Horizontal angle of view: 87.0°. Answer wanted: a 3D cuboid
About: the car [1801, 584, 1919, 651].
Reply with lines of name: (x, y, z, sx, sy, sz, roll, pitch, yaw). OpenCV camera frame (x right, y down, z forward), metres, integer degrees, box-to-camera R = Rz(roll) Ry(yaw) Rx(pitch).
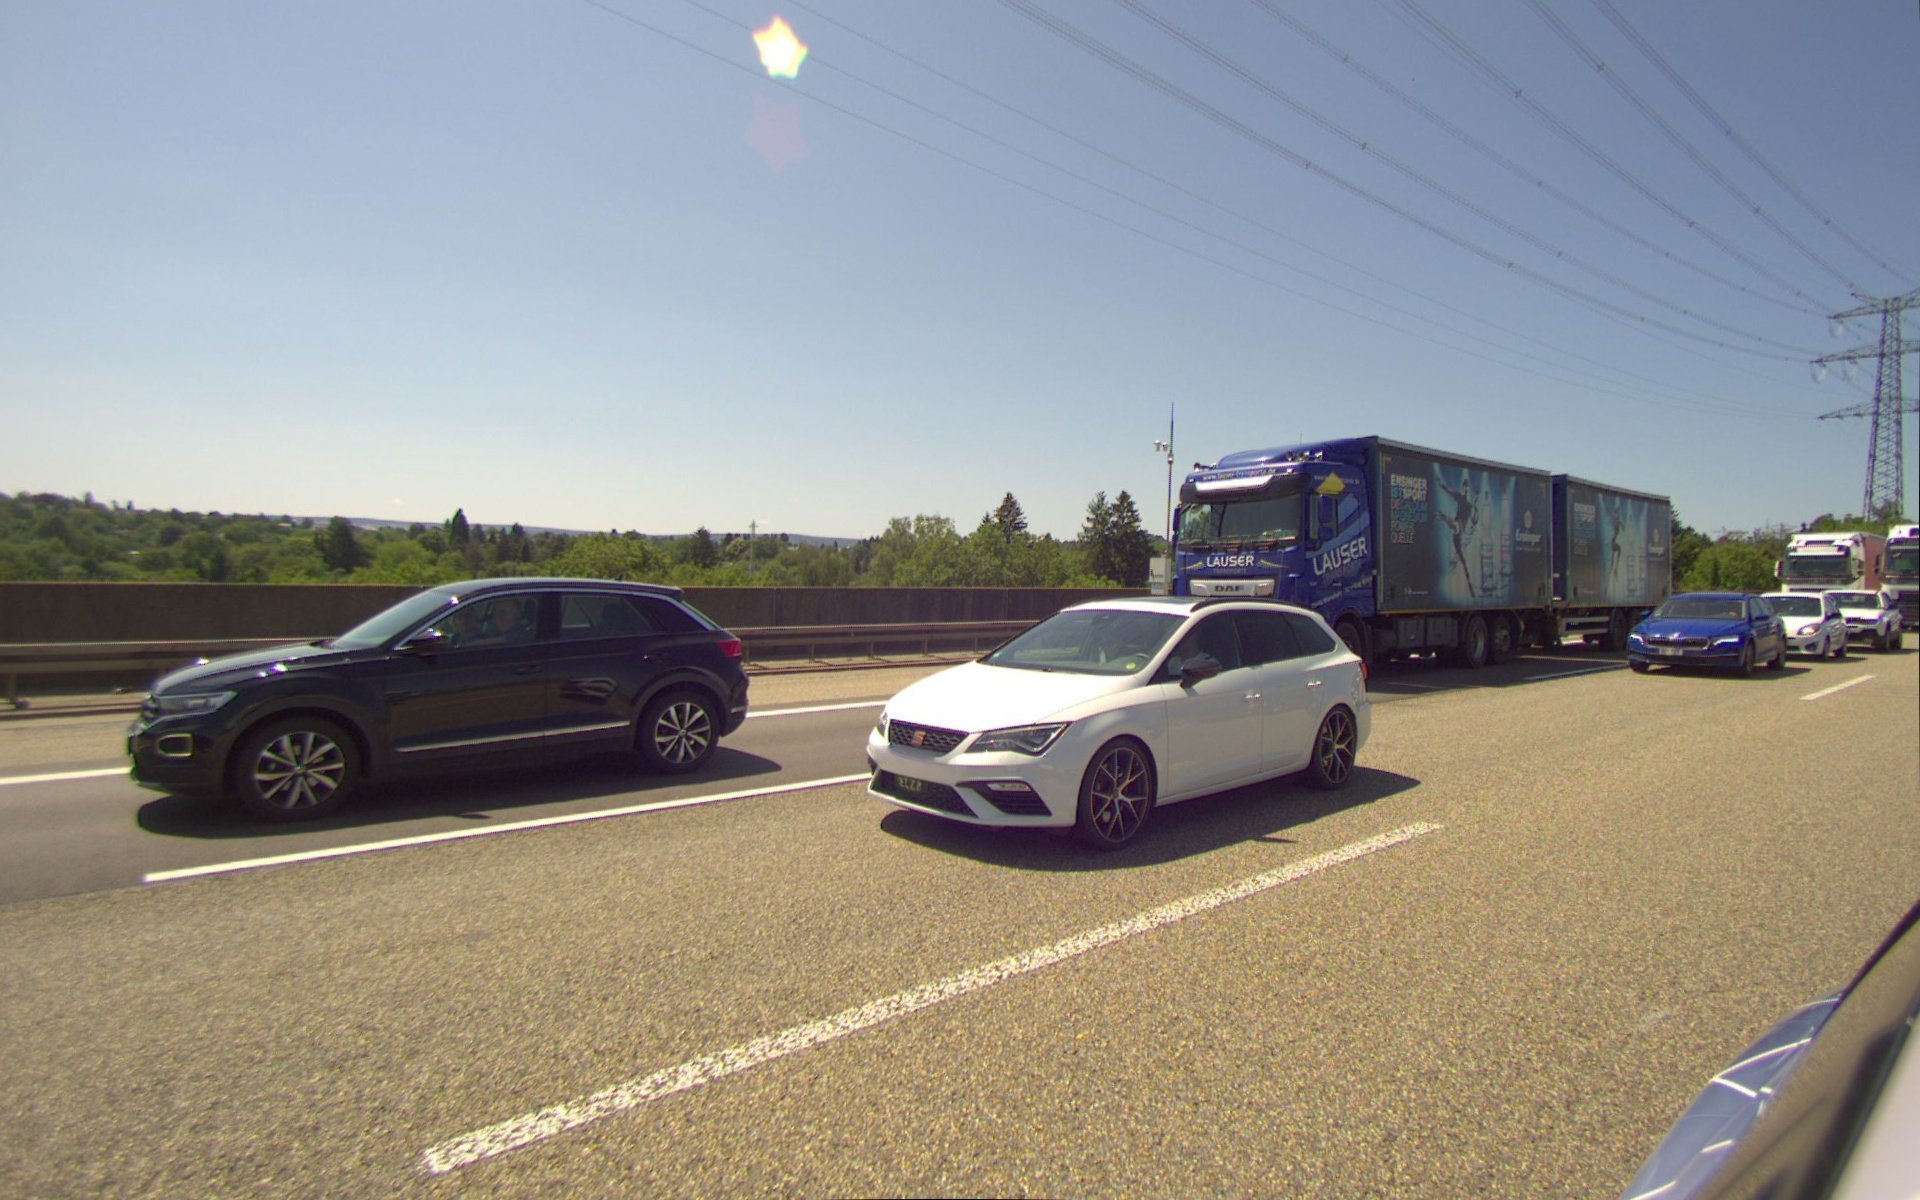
car: (22.744, 0.374, 25.477, 4.071, 1.528, 1.712, -1, 1, -40)

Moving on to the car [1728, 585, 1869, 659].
car: (18.638, 0.420, 22.445, 4.071, 1.470, 1.712, -1, 1, -40)

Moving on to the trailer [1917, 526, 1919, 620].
trailer: (43.862, -1.183, 43.695, 8.927, 3.900, 2.820, -1, 1, -41)

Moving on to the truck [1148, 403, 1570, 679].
truck: (7.966, -0.949, 19.065, 10.210, 3.999, 2.857, -1, 1, -40)

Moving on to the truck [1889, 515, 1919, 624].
truck: (37.455, -1.153, 38.036, 8.121, 3.874, 2.847, -1, 1, -41)

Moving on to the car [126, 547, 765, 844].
car: (-3.691, 0.501, 7.672, 4.046, 1.675, 1.711, -1, 1, -41)

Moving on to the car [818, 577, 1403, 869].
car: (1.294, 0.611, 7.183, 4.352, 1.470, 1.711, 0, 0, -41)

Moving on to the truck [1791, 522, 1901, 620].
truck: (39.562, -1.259, 45.090, 8.121, 4.037, 2.606, -1, 1, -41)

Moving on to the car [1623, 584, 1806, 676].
car: (13.954, 0.470, 18.622, 4.483, 1.470, 1.712, -1, 1, -40)

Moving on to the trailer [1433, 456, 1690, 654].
trailer: (15.109, -1.020, 25.069, 8.485, 4.140, 2.833, -1, 1, -40)
